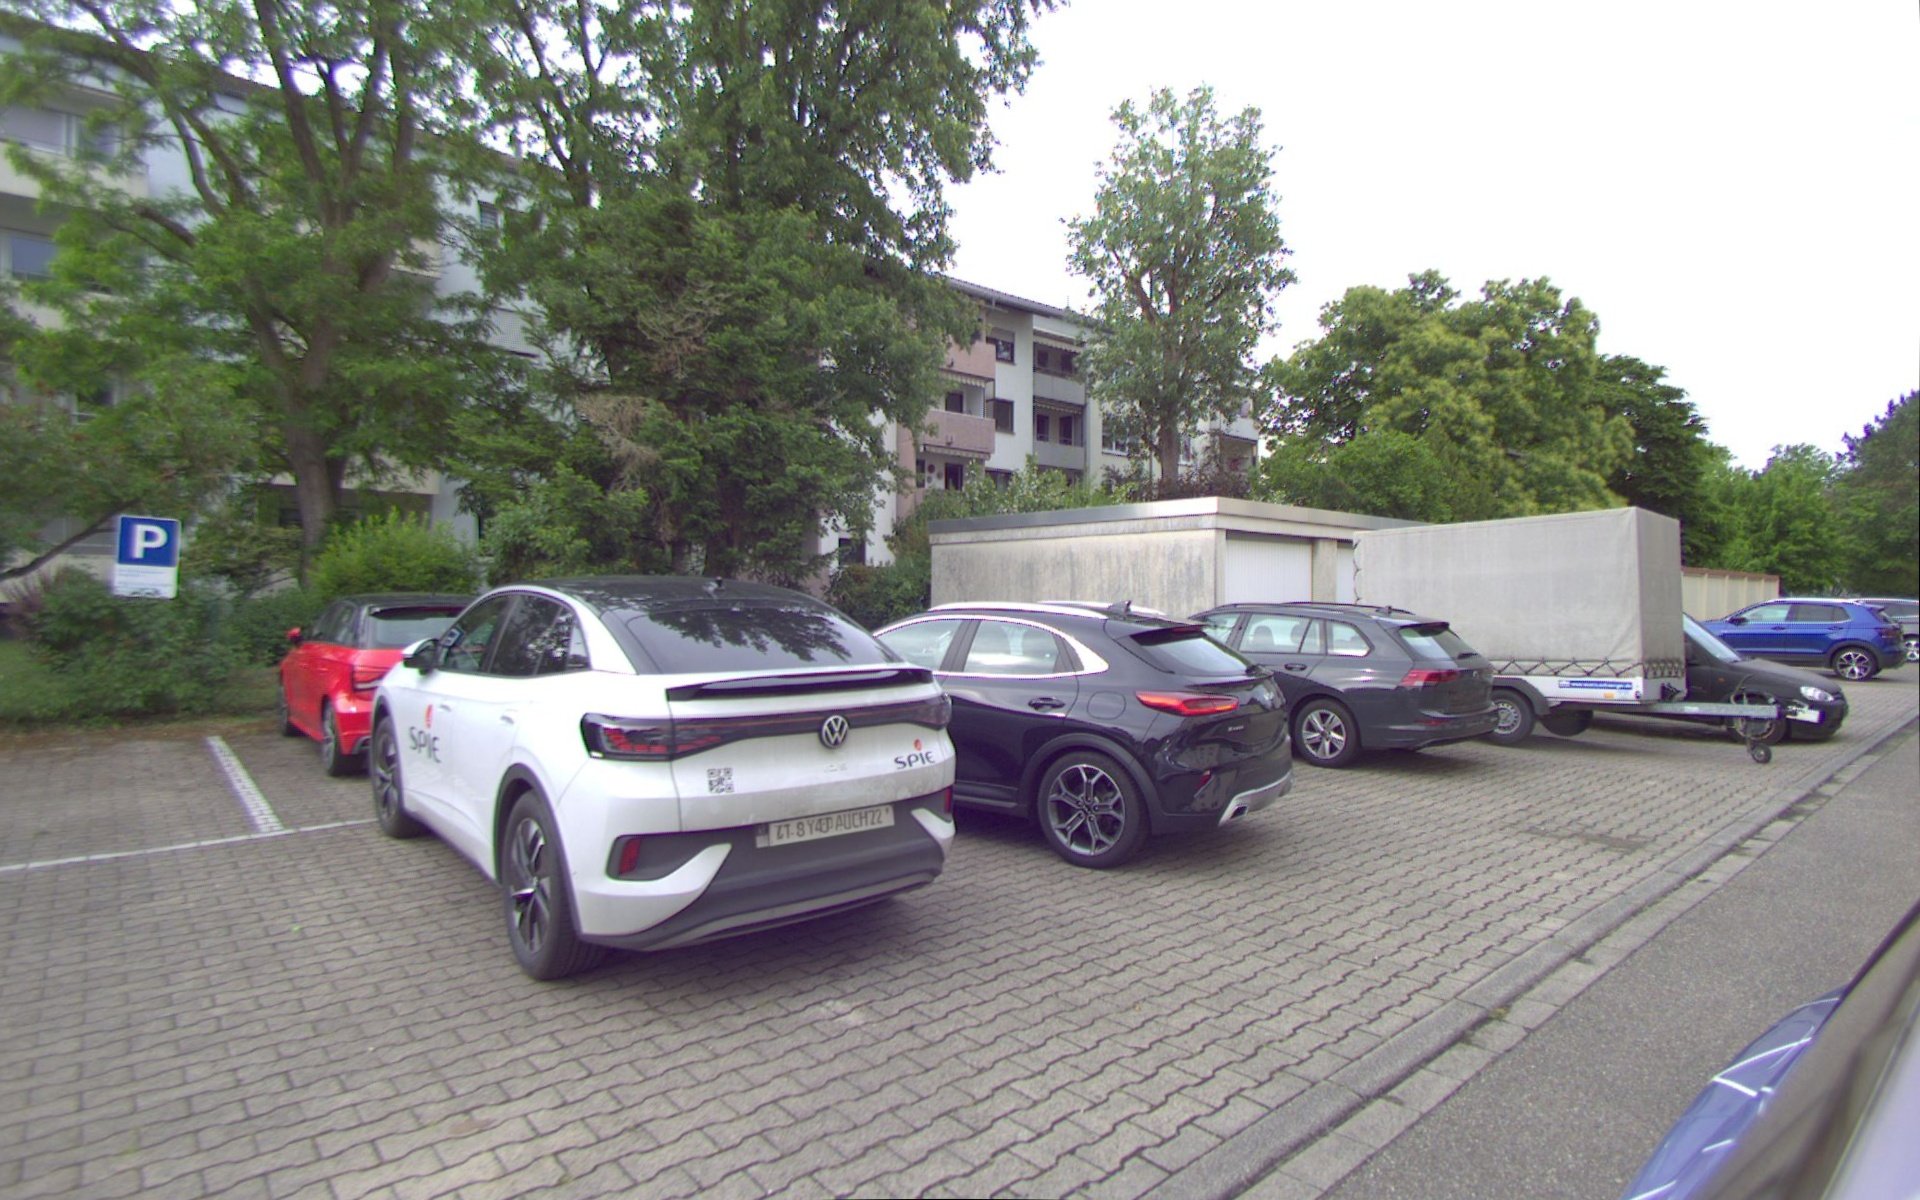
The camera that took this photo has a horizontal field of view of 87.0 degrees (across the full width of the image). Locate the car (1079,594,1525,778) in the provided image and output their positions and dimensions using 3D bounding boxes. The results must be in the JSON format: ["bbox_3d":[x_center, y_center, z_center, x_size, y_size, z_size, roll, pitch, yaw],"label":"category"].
[{"bbox_3d":[3.298,0.700,10.426,1.584,1.467,4.134,0,1,-41],"label":"car"}]

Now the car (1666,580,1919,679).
[{"bbox_3d":[17.476,0.536,21.236,1.965,1.724,3.994,1,2,-42],"label":"car"}]

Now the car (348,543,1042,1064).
[{"bbox_3d":[-1.832,0.609,5.520,1.952,1.609,4.547,1,0,-39],"label":"car"}]

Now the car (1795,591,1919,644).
[{"bbox_3d":[31.617,0.594,34.739,1.902,1.605,4.295,1,2,-42],"label":"car"}]

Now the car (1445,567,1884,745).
[{"bbox_3d":[8.967,0.556,13.188,1.965,1.824,4.318,1,2,-42],"label":"car"}]

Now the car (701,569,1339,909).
[{"bbox_3d":[0.263,0.642,6.980,3.980,1.571,1.972,3,2,39],"label":"car"}]

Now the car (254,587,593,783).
[{"bbox_3d":[-5.103,0.595,9.369,1.937,1.398,3.904,1,0,-41],"label":"car"}]

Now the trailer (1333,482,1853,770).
[{"bbox_3d":[6.815,0.227,11.364,1.908,2.557,4.617,0,0,-41],"label":"trailer"}]

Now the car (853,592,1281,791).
[{"bbox_3d":[0.828,0.681,9.804,1.880,1.467,4.006,0,1,-38],"label":"car"}]

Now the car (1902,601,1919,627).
[{"bbox_3d":[58.825,0.869,60.112,1.757,1.504,4.099,0,1,-42],"label":"car"}]

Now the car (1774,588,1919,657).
[{"bbox_3d":[26.004,0.626,28.734,1.965,1.748,4.203,1,2,-42],"label":"car"}]
